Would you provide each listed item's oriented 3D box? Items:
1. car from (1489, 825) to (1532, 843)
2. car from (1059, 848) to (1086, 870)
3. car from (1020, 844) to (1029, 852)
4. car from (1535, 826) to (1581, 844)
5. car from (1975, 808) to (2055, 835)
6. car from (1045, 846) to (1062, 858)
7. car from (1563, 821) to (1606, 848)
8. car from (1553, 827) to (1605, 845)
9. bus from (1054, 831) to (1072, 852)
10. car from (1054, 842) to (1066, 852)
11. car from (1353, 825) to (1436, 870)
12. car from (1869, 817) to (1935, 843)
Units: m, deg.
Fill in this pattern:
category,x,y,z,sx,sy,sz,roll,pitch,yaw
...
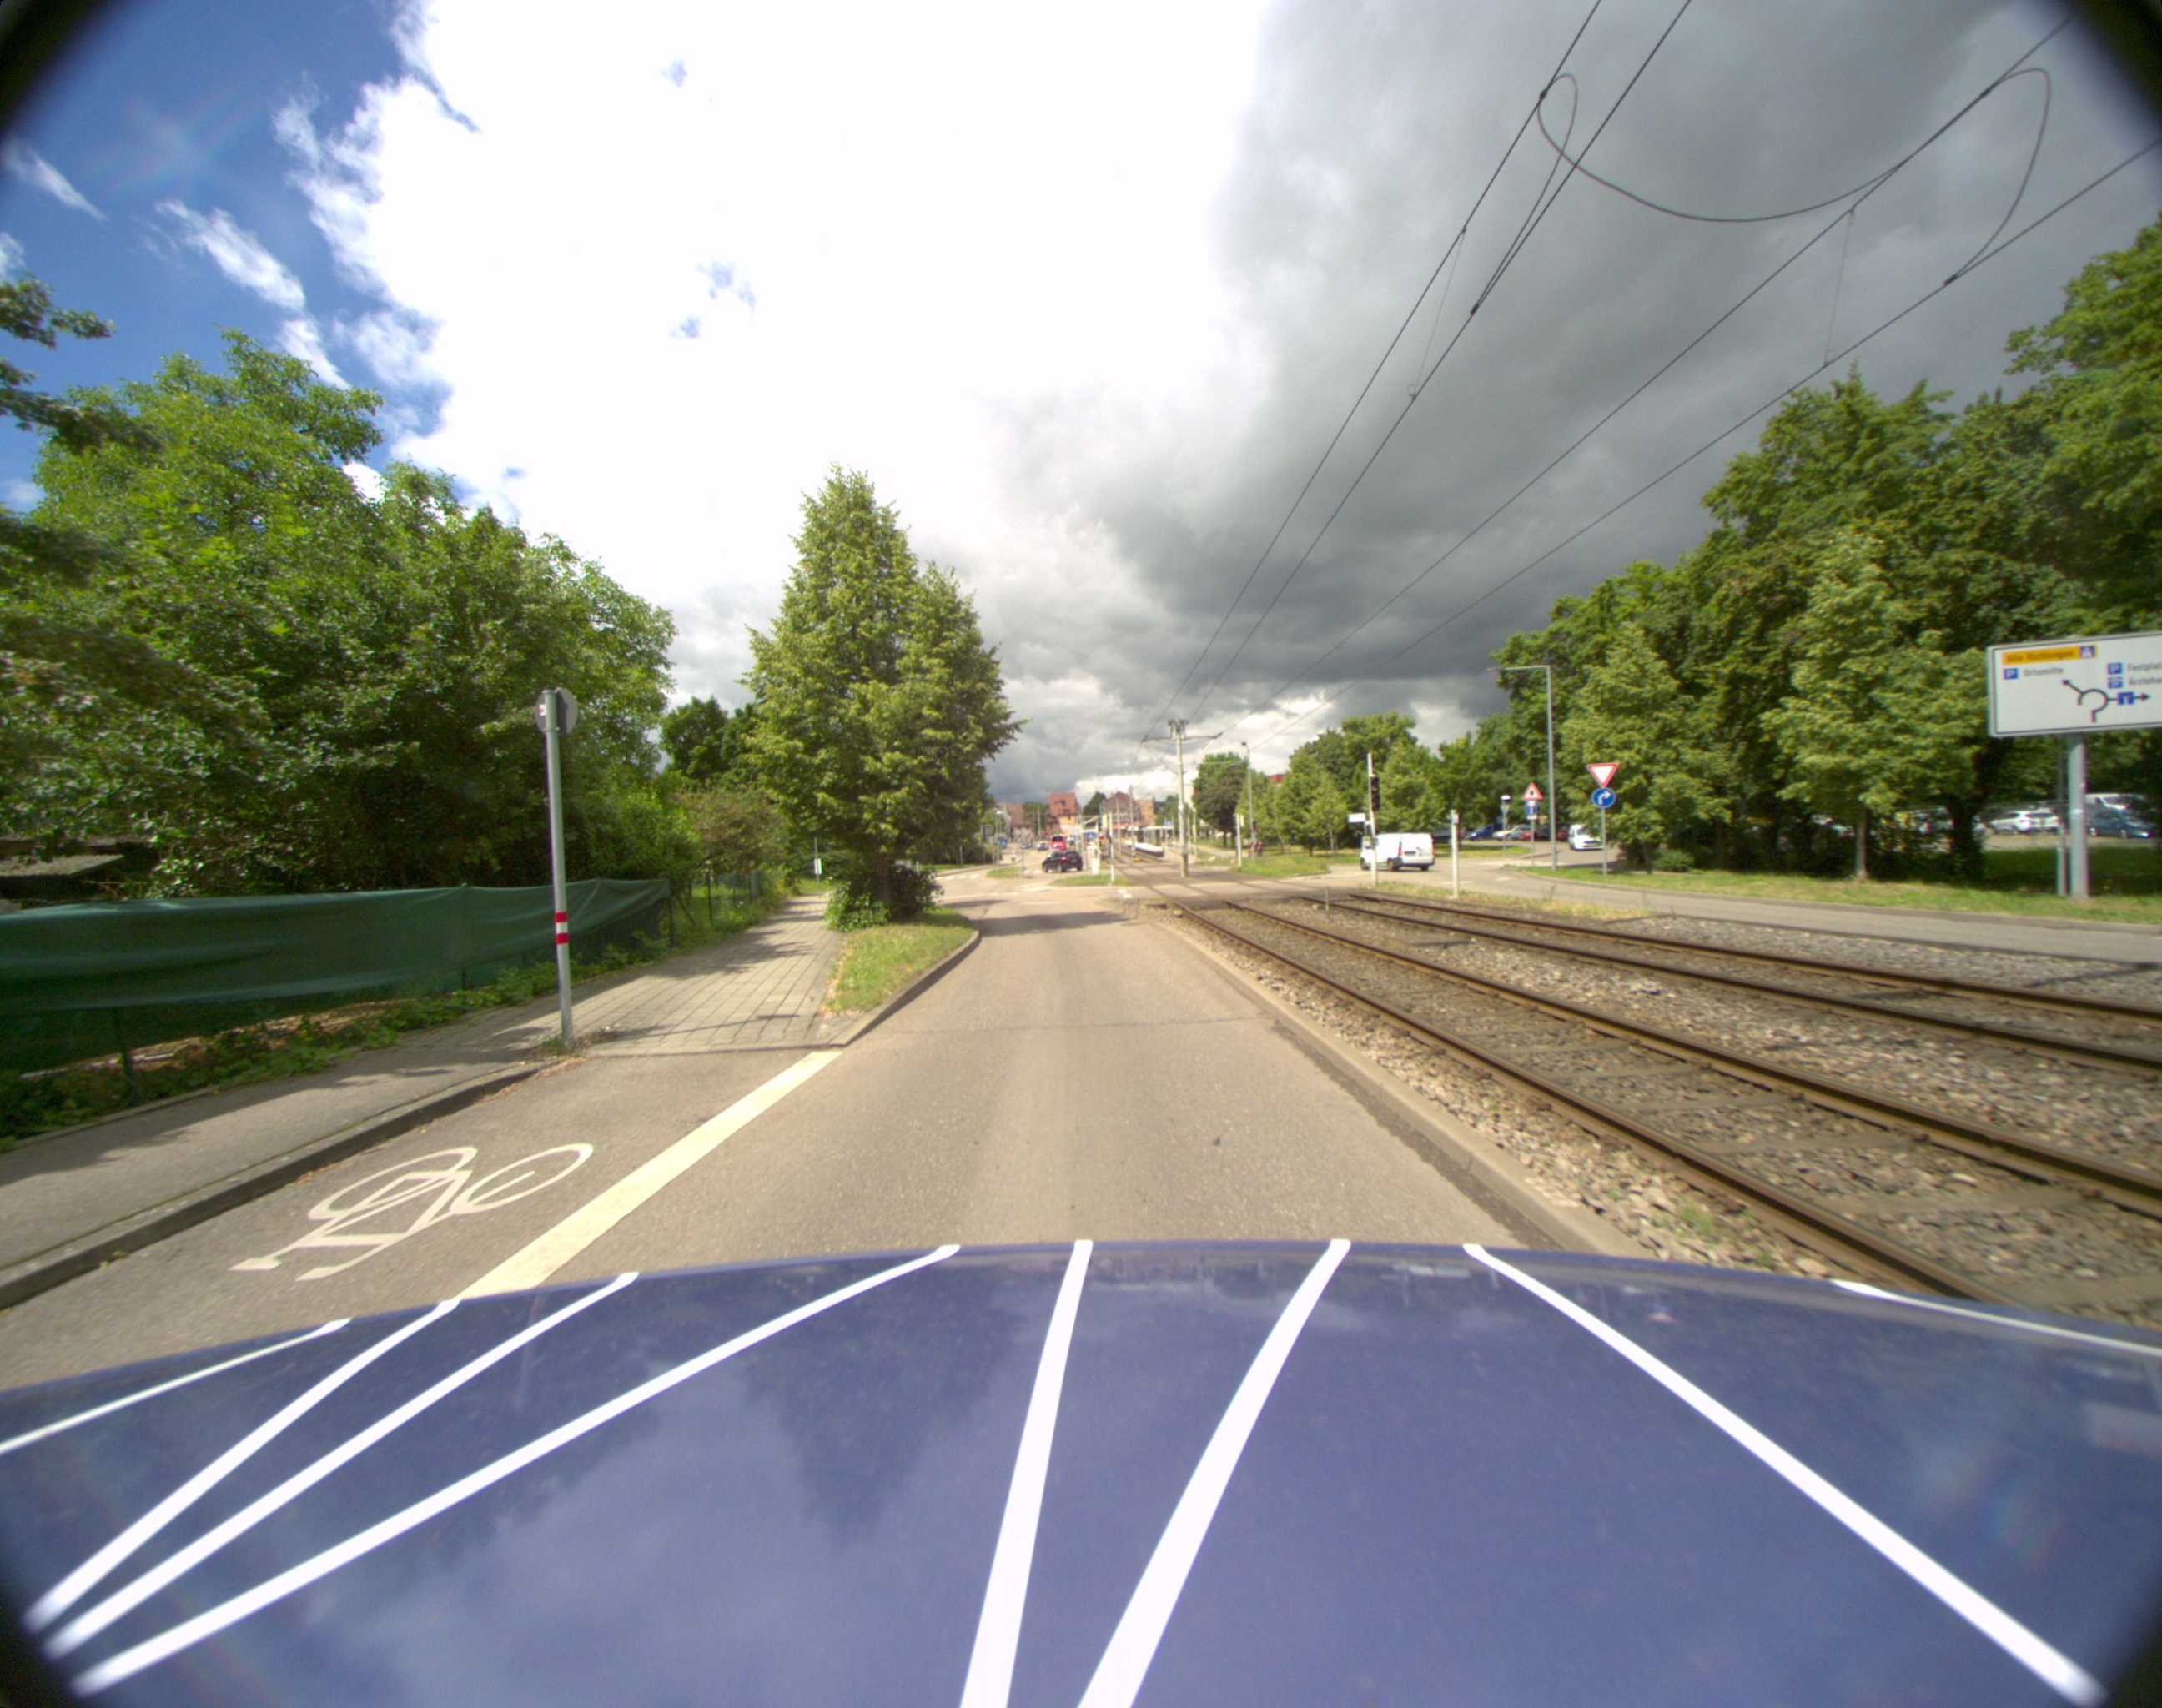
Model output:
category,x,y,z,sx,sy,sz,roll,pitch,yaw
car,43.826,-1.985,77.607,1.594,1.630,3.900,-4,1,-12
car,-0.670,0.348,59.365,1.858,1.576,4.324,-2,0,-3
car,-13.760,-1.479,184.705,1.999,1.849,3.999,-3,1,-1
car,45.227,-1.764,72.047,3.621,1.581,1.627,-2,1,-16
car,55.900,-1.958,45.565,1.754,1.412,4.006,-3,1,31
car,-3.488,-0.298,96.217,1.940,1.374,4.659,-4,1,-1
car,35.124,-1.396,53.103,1.738,1.680,4.356,-3,1,25
car,45.532,-1.625,69.530,3.616,1.581,1.629,-2,1,3
bus,-3.443,-2.434,148.479,2.923,3.864,10.378,-3,0,1
car,-3.415,-1.126,125.822,1.738,1.501,3.514,-4,1,0
car,15.891,-0.381,38.868,1.880,2.007,5.233,-4,1,-1
car,51.559,-1.549,47.781,1.754,1.412,4.006,-3,1,31
